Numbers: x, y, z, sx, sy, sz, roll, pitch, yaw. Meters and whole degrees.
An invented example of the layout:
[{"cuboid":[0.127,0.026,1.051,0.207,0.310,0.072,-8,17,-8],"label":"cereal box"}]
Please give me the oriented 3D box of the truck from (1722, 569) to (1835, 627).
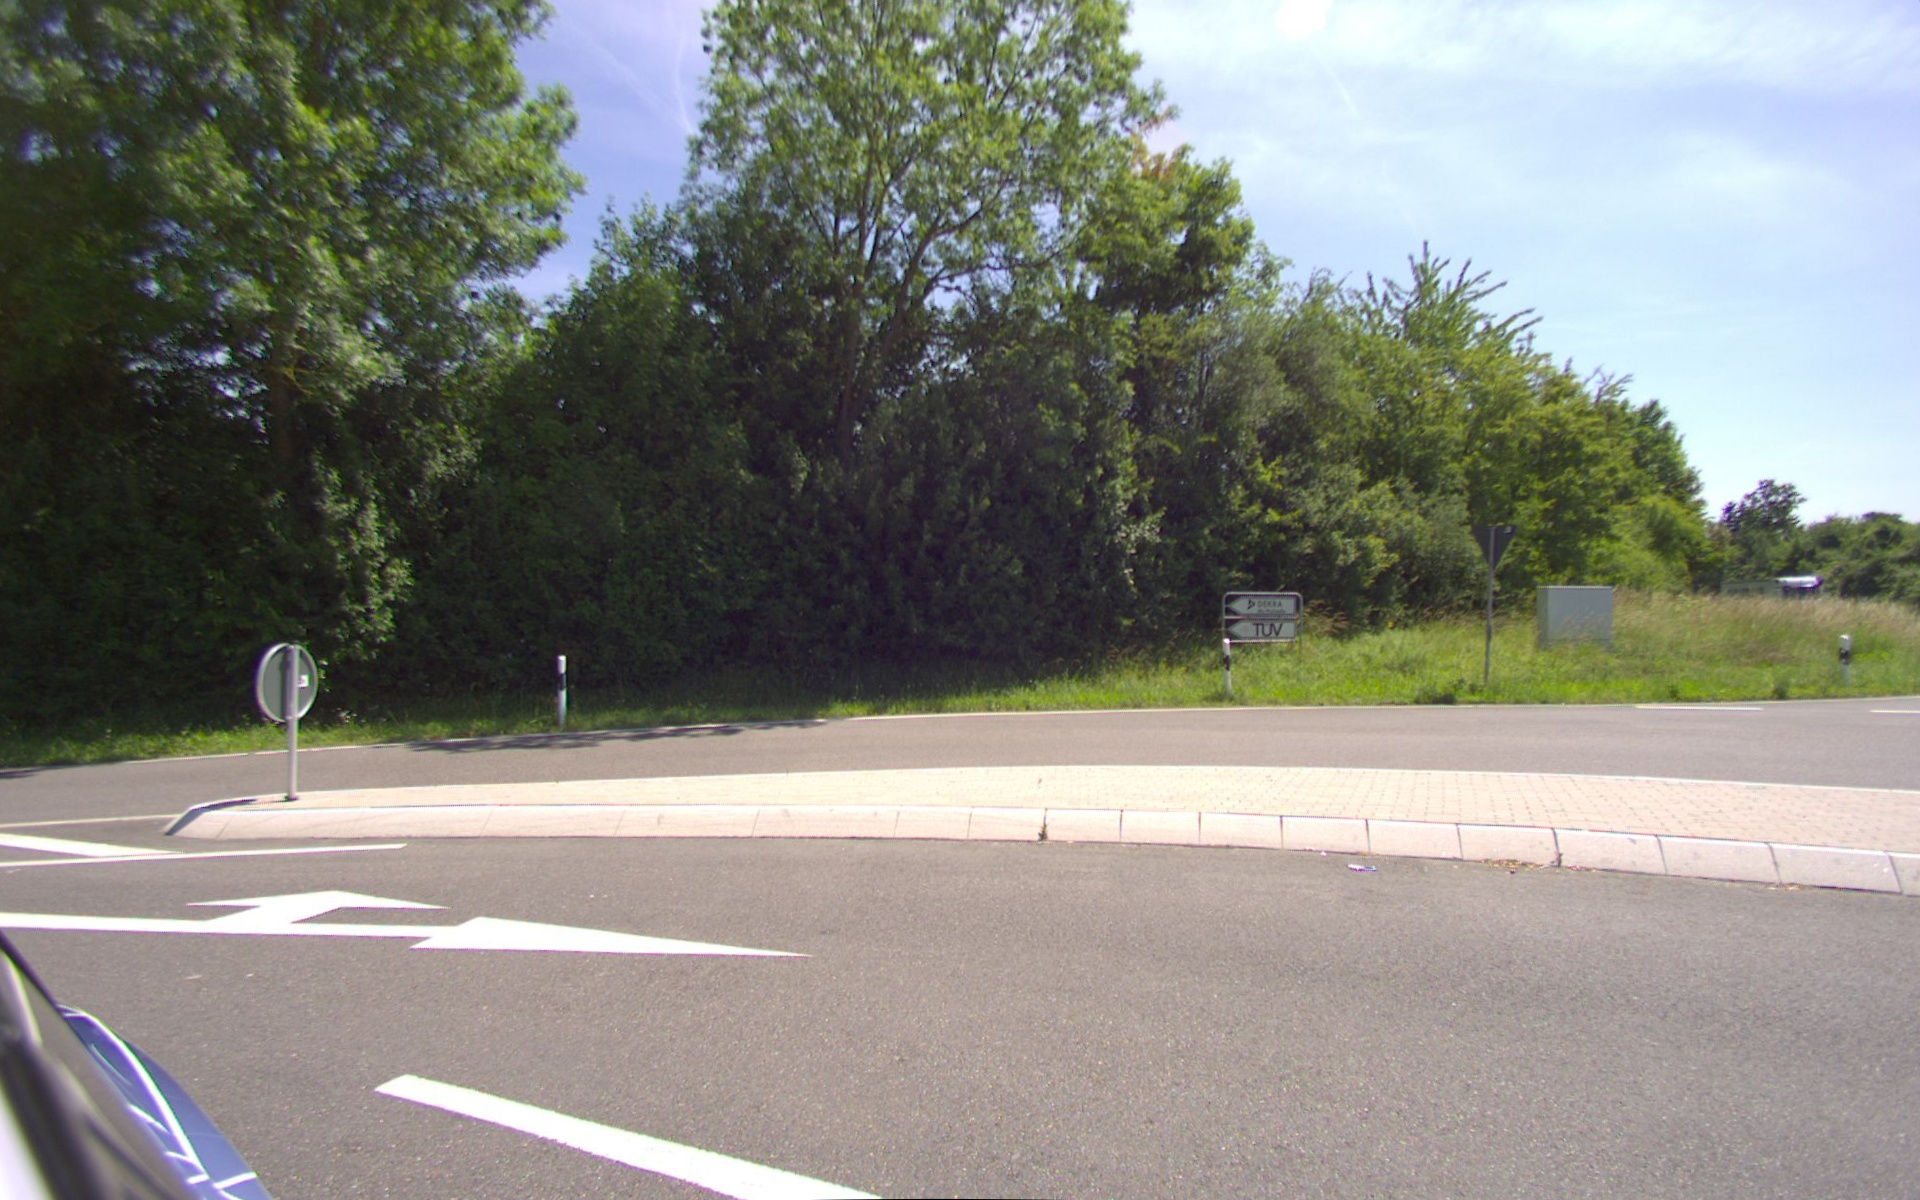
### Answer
[{"cuboid":[70.328,0.025,87.543,3.125,4.480,16.322,-3,-2,23],"label":"truck"}]
